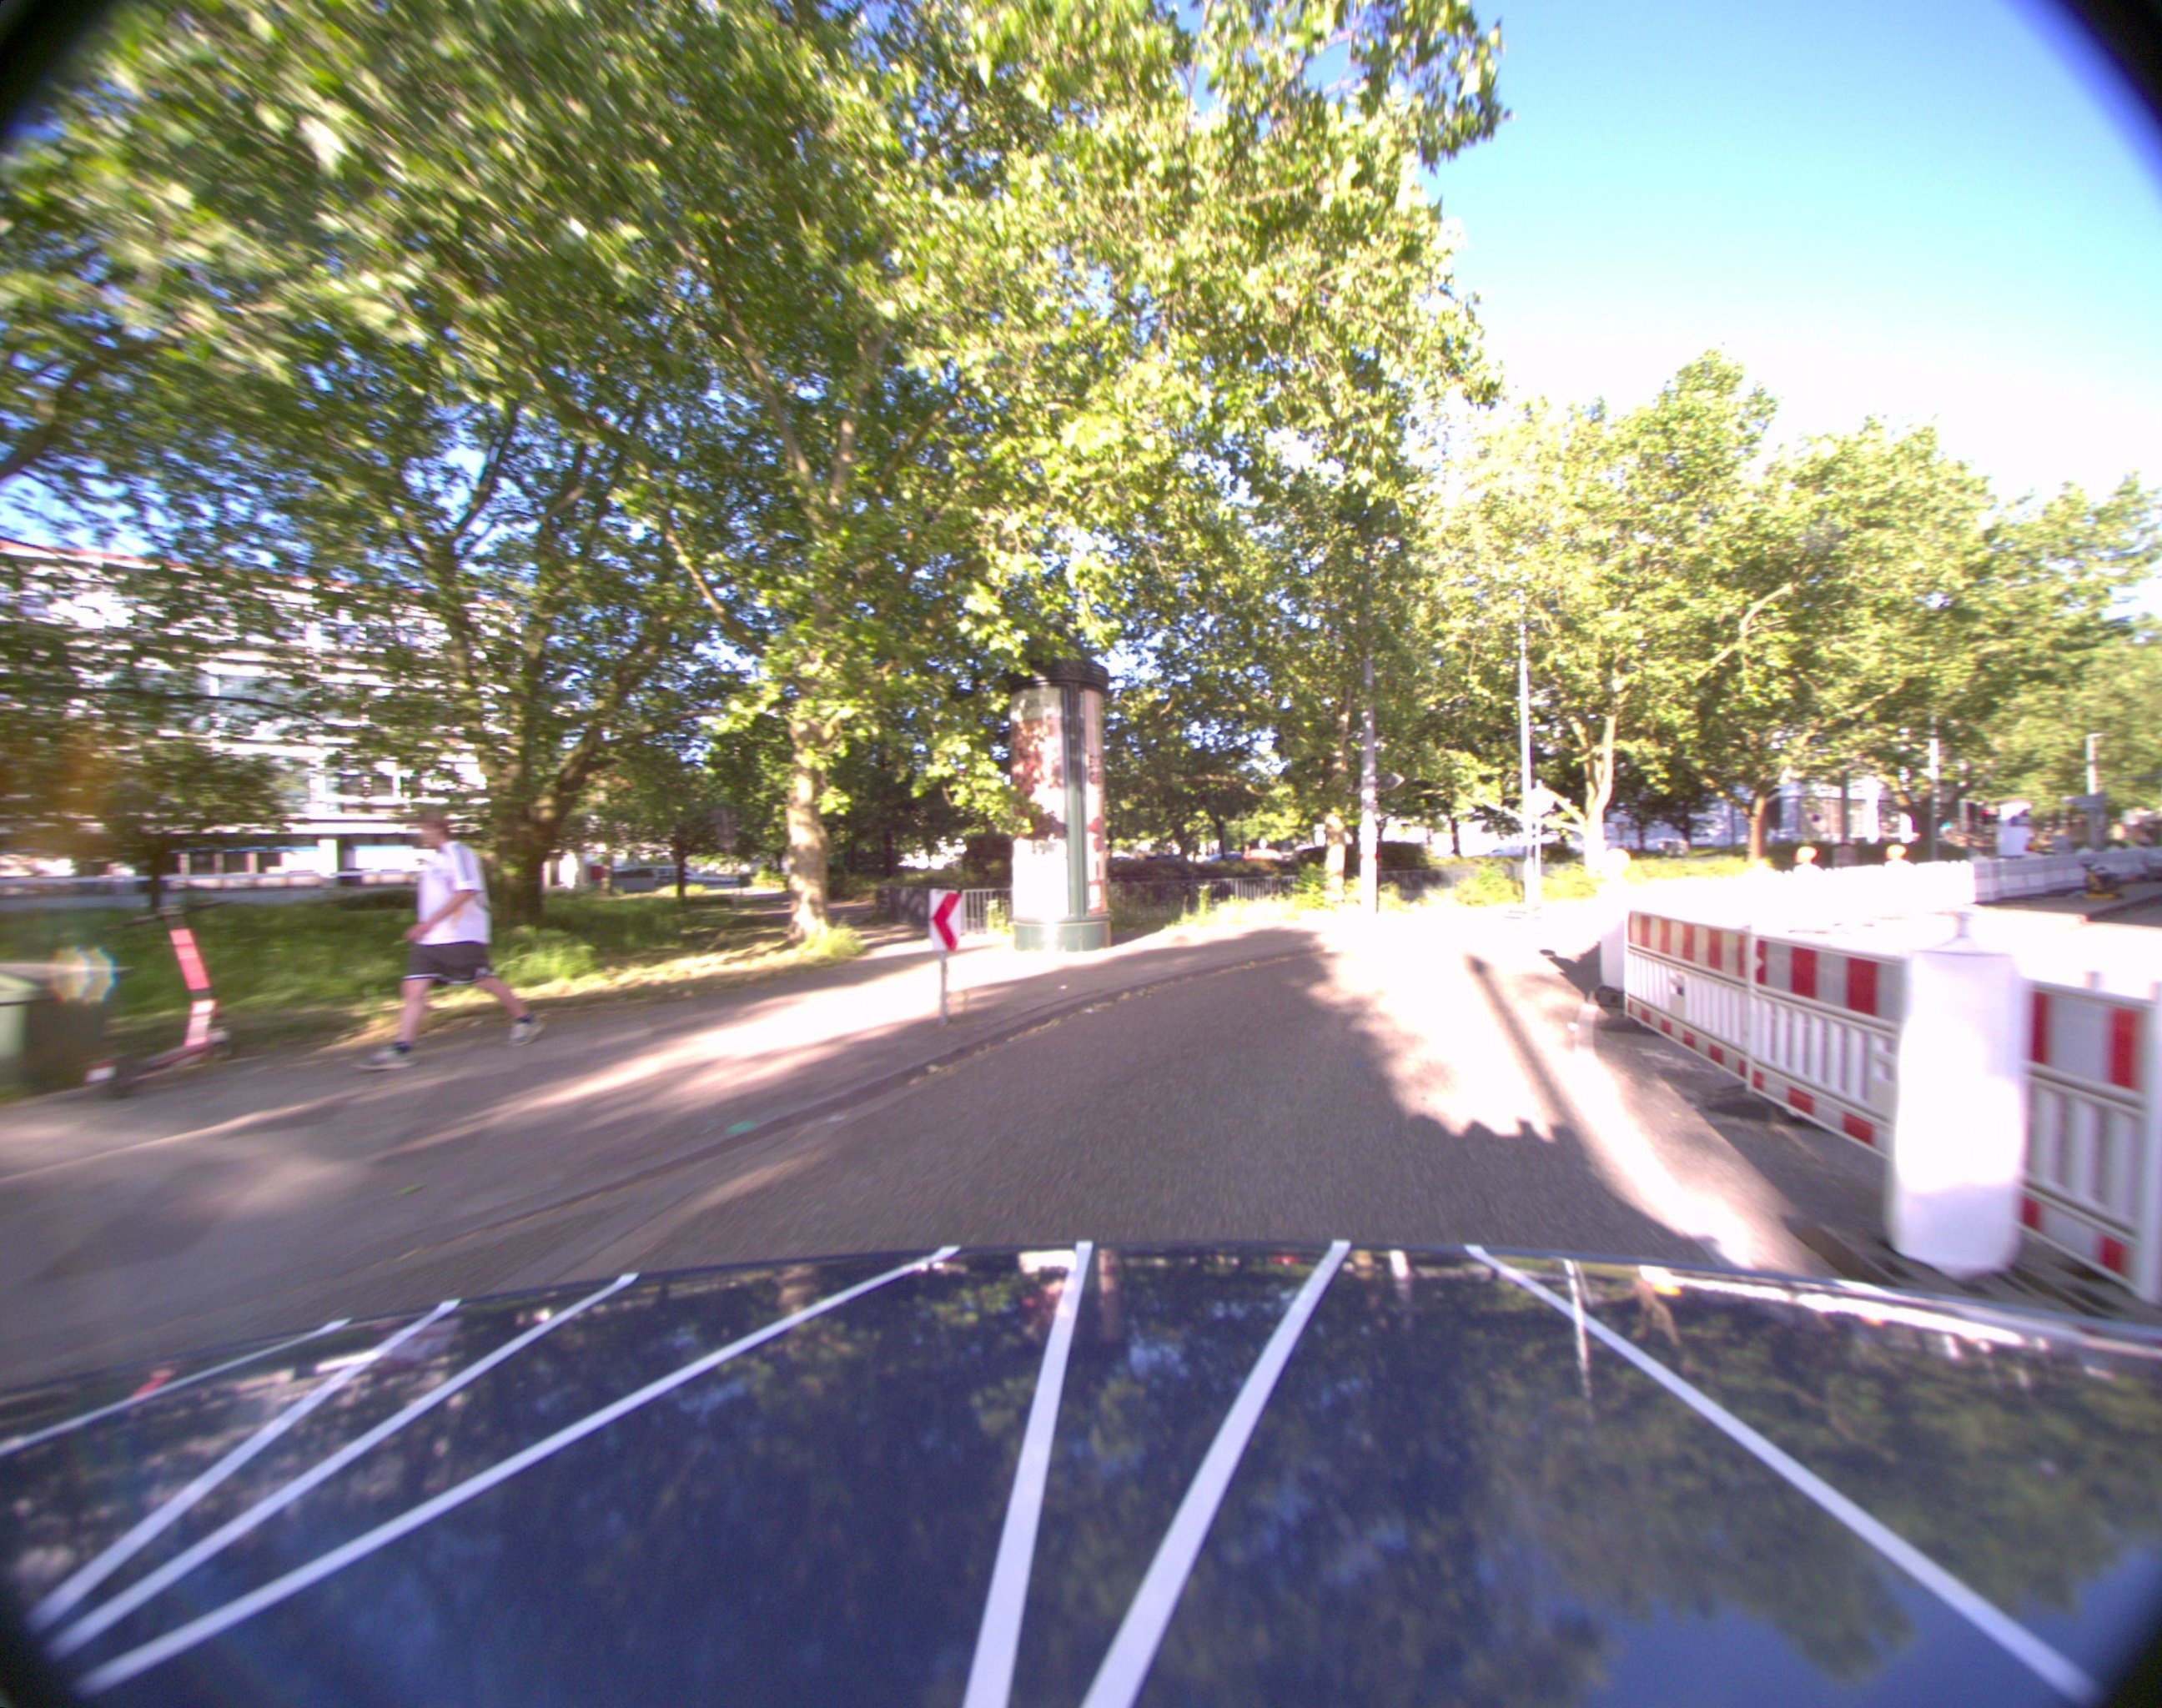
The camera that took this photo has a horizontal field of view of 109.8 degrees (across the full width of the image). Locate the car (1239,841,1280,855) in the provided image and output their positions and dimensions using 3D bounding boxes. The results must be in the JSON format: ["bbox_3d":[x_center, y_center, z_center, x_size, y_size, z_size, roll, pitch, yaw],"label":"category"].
[{"bbox_3d":[23.334,-0.830,99.525,2.094,1.776,4.898,-2,2,-39],"label":"car"}]

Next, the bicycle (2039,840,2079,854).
[{"bbox_3d":[69.600,-0.519,54.094,1.631,0.994,0.623,1,4,35],"label":"bicycle"}]

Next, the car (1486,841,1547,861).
[{"bbox_3d":[42.298,-0.292,73.965,2.113,1.818,4.708,-1,0,-32],"label":"car"}]

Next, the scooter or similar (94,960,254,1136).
[{"bbox_3d":[-6.230,1.282,5.272,0.420,0.909,1.147,-3,3,-37],"label":"scooter or similar"}]

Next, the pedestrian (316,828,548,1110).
[{"bbox_3d":[-4.681,0.737,5.514,0.745,1.802,1.136,-2,0,41],"label":"pedestrian"}]

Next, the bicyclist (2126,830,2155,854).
[{"bbox_3d":[73.276,-0.832,52.542,1.009,1.630,0.949,-2,0,-22],"label":"bicyclist"}]

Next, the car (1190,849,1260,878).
[{"bbox_3d":[8.666,0.569,45.580,4.007,1.617,1.759,-1,0,-34],"label":"car"}]

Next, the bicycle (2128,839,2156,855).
[{"bbox_3d":[73.300,-0.461,52.496,1.930,1.060,0.703,0,0,-22],"label":"bicycle"}]

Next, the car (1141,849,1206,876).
[{"bbox_3d":[6.040,0.557,49.497,4.006,1.616,1.550,-1,-1,-29],"label":"car"}]

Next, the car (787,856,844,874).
[{"bbox_3d":[-24.693,1.018,70.686,4.664,1.466,2.010,-1,-1,-29],"label":"car"}]

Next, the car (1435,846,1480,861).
[{"bbox_3d":[39.017,-0.080,78.828,1.633,1.476,3.841,-1,0,-32],"label":"car"}]
